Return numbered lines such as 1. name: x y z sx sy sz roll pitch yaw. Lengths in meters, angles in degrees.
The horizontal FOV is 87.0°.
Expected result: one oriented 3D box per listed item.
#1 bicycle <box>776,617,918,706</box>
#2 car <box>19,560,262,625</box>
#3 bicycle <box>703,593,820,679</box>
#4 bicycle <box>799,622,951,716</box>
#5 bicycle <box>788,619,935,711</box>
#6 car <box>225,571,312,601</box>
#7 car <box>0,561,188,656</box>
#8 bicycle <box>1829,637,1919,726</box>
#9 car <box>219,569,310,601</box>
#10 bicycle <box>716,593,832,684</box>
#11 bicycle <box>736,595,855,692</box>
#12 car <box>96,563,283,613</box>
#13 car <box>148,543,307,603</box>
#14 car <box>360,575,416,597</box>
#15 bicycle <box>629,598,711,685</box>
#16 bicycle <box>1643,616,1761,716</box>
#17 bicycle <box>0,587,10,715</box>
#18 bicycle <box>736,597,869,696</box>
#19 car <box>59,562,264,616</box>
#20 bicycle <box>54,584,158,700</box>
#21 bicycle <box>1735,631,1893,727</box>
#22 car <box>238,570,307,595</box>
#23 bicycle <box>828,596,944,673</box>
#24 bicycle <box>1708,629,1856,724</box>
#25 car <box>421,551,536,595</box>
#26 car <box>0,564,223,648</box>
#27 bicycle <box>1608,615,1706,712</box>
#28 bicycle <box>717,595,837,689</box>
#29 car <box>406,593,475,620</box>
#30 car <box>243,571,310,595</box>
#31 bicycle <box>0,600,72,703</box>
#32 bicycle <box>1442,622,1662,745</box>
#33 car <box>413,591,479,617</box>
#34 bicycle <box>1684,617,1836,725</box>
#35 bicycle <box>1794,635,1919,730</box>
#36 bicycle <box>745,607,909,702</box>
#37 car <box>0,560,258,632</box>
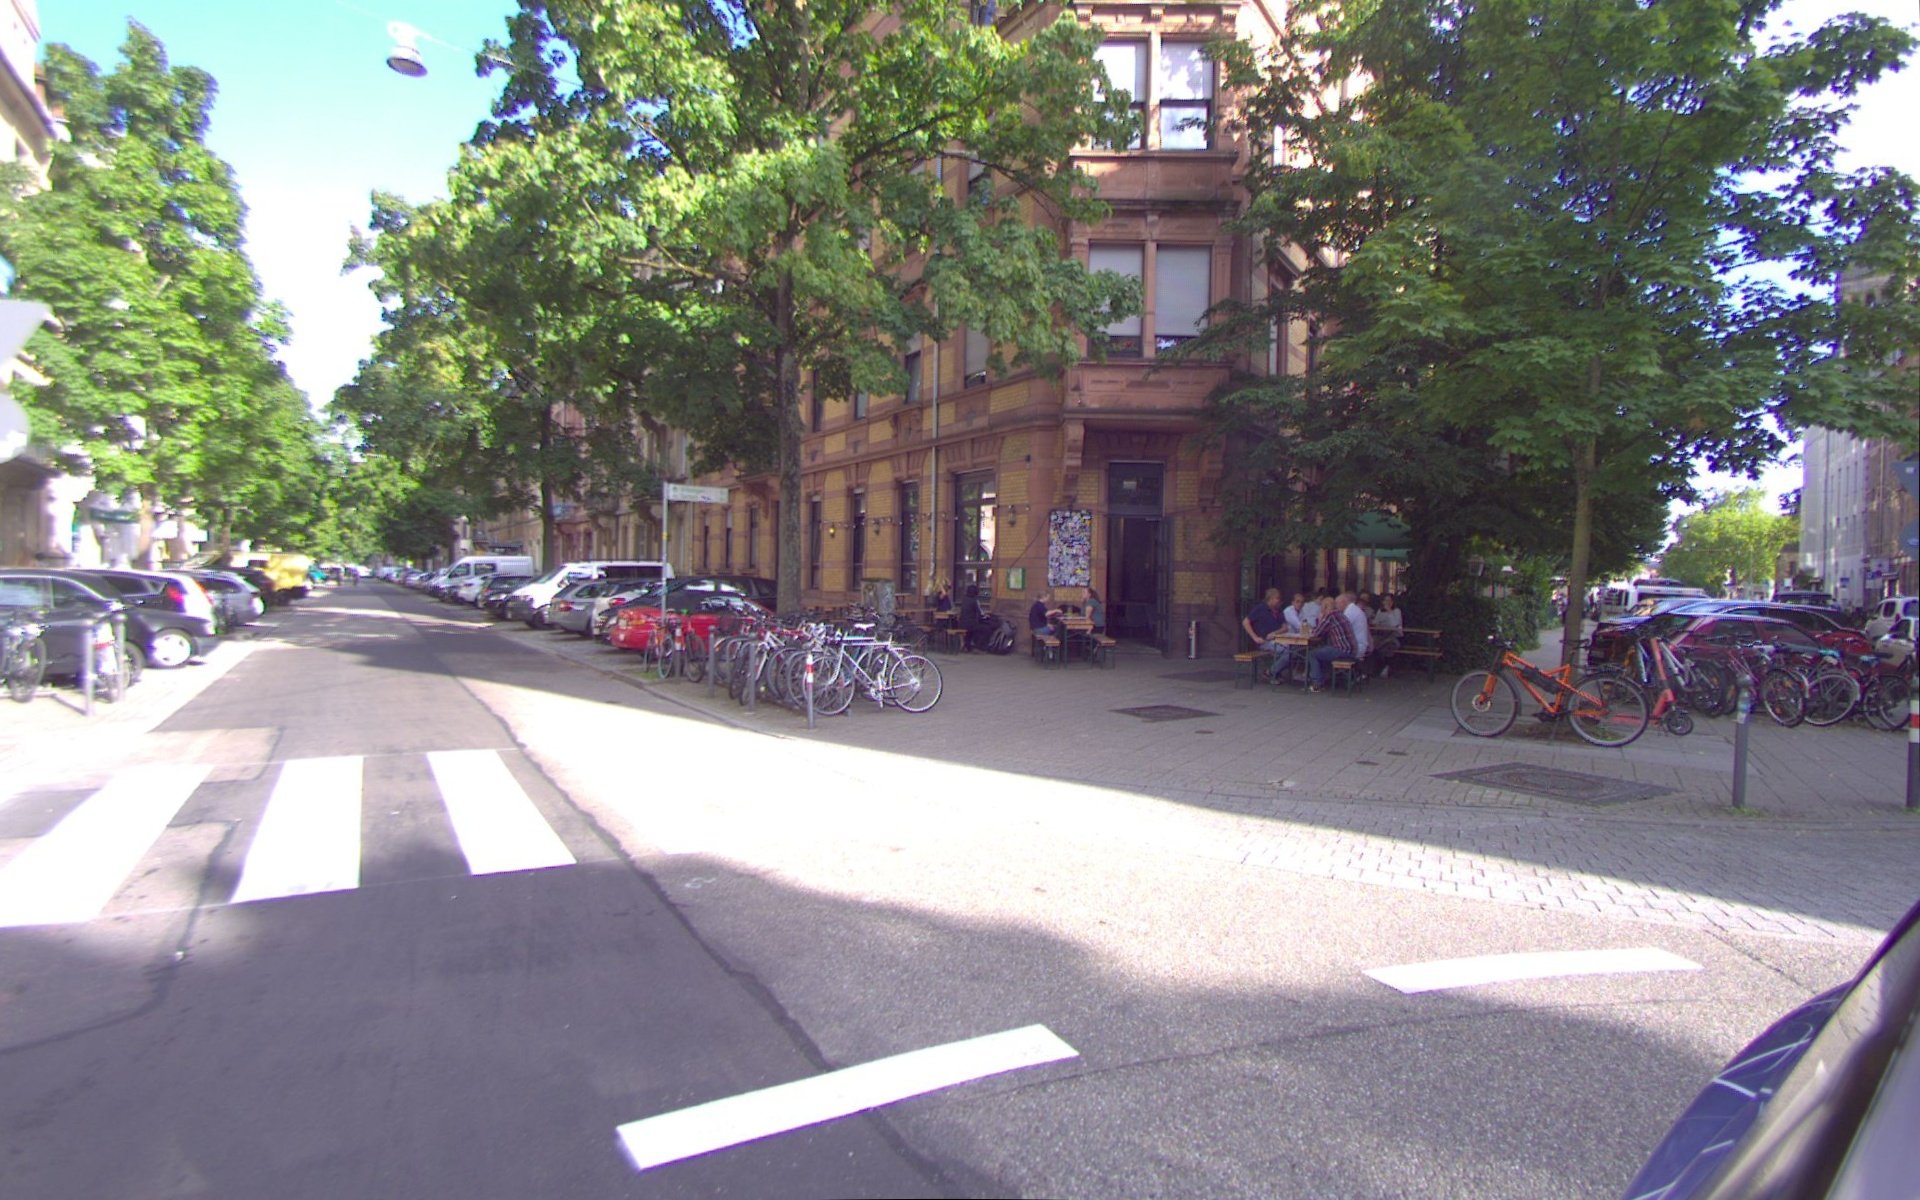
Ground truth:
1. bicycle: -1.381 0.734 12.432 1.676 0.999 0.449 -1 2 -18
2. car: -21.062 -0.157 26.226 1.736 1.514 4.578 1 0 31
3. bicycle: -3.008 0.518 15.378 1.677 1.216 0.449 -1 2 -27
4. bicycle: -0.970 0.769 11.632 1.676 0.981 0.449 -1 2 -18
5. bicycle: -1.167 0.751 12.045 1.676 0.999 0.449 -1 2 -18
6. car: -40.347 -0.812 59.124 1.722 1.659 3.804 1 0 32
7. car: -15.386 0.115 16.174 1.731 1.452 4.592 1 0 24
8. bicycle: 12.069 1.052 12.846 0.463 0.997 1.864 3 2 2
9. car: -38.080 -0.795 55.463 1.727 1.659 3.792 1 0 41
10. bicycle: -2.718 0.537 14.913 1.682 1.216 0.448 -2 3 -40
11. bicycle: -2.252 0.565 13.990 0.447 1.216 1.685 2 3 45
12. car: -25.157 -0.347 33.243 1.736 1.514 4.578 1 0 31
13. car: -29.440 -1.028 40.845 2.127 2.249 4.764 1 0 27
14. car: -47.094 -1.166 83.363 3.921 1.754 1.830 0 0 -32
15. bicycle: -4.457 0.576 15.407 0.570 1.109 2.503 -3 4 -30
16. bicycle: 9.689 0.826 13.280 0.467 1.114 1.671 3 2 9
17. bicycle: -9.777 0.447 9.827 1.841 1.191 0.408 2 0 35
18. bicycle: -2.063 0.591 13.288 1.676 1.216 0.449 -1 2 -18
19. car: -24.130 -0.290 30.765 1.736 1.514 4.578 1 0 31
20. bicycle: -9.697 0.443 11.473 1.841 1.191 0.408 2 0 35
21. bicycle: 11.003 0.981 13.129 0.463 0.997 1.864 3 2 2
22. car: -49.088 -1.257 72.302 1.727 1.659 3.792 1 0 41
23. bicycle: -1.174 0.522 16.201 1.763 1.127 0.601 -1 2 -27
24. bicycle: 10.547 0.950 13.072 0.410 0.997 1.838 3 2 2
25. car: -25.466 -1.384 53.590 5.373 2.229 2.002 0 0 -31
26. car: -16.745 0.103 18.838 1.736 1.452 4.578 1 0 31
27. bicycle: 9.190 0.799 13.402 0.428 1.114 1.668 3 2 13
28. bicycle: -2.591 0.563 14.433 1.682 1.216 0.448 -2 3 -40
29. car: -34.539 0.438 67.269 3.921 1.754 1.830 0 0 -32
30. car: -50.433 -1.269 74.696 1.727 1.659 3.792 1 0 41
31. bicycle: -10.199 0.528 10.993 1.414 1.014 0.487 2 0 35
32. bicycle: 5.952 0.798 10.241 1.844 1.048 0.675 2 1 34
33. car: -35.746 0.253 70.375 3.921 1.754 1.830 0 0 -32
34. bicycle: 10.171 0.857 12.954 0.466 1.157 1.838 3 2 2
35. bicycle: 11.635 1.023 12.907 0.463 0.997 1.864 3 2 2
36. bicycle: -1.675 0.664 12.807 2.002 1.102 0.449 -1 2 -18
37. car: -19.446 -0.070 23.748 1.736 1.514 4.578 1 0 31
